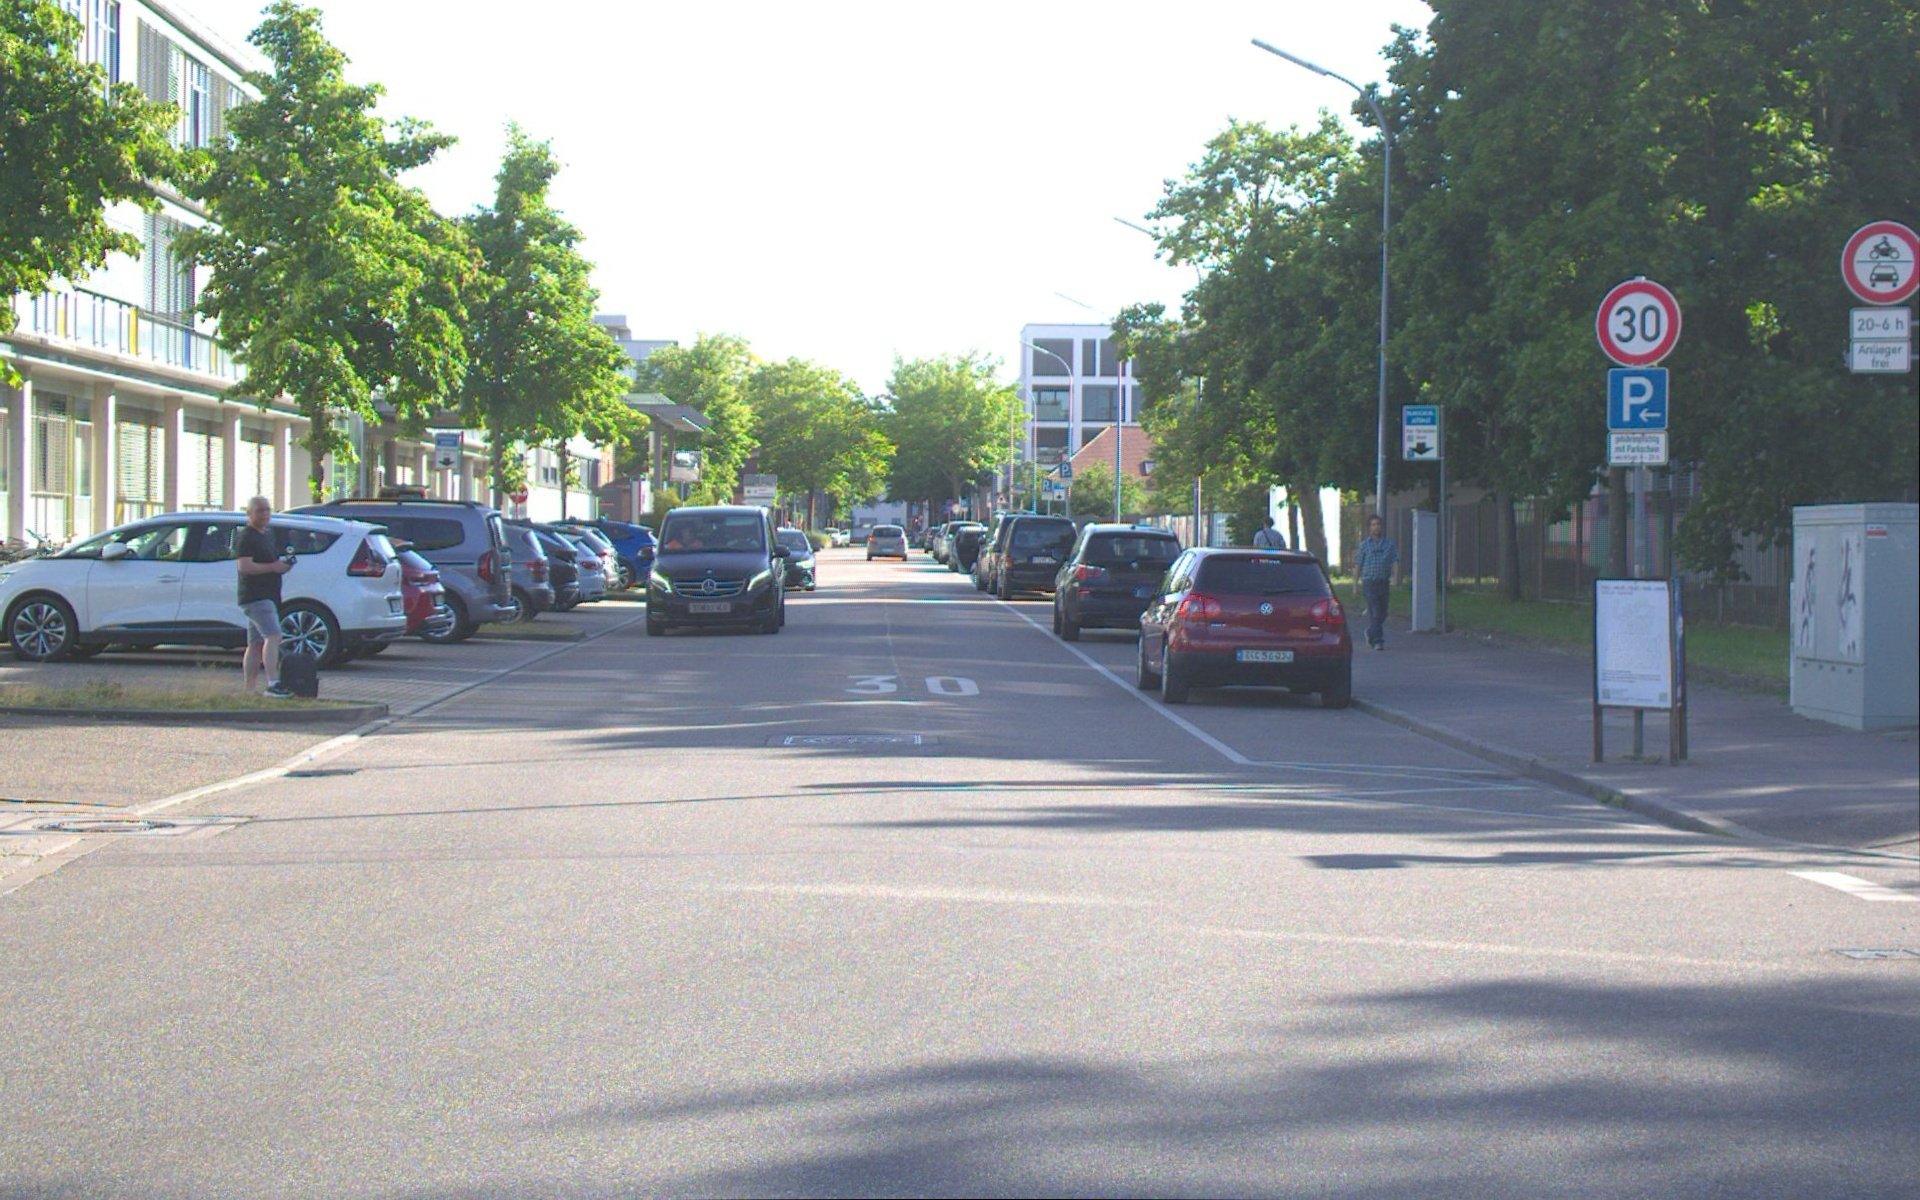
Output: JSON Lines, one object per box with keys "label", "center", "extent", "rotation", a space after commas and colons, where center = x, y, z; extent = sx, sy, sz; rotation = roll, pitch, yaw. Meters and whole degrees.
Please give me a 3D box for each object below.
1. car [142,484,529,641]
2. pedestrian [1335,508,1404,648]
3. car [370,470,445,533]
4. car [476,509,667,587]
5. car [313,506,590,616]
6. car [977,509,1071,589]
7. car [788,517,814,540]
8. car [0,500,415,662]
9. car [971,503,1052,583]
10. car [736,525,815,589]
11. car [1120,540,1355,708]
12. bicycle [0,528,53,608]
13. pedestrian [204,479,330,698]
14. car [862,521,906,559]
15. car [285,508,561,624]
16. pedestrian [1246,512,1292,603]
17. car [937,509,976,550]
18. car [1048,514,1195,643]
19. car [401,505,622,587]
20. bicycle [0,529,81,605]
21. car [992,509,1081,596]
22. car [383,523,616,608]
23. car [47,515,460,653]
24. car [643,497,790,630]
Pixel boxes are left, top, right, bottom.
{"label": "car", "center": [-8.206, -0.509, 45.477], "extent": [4.742, 1.858, 1.828], "rotation": [2, 1, -1]}
{"label": "pedestrian", "center": [5.216, -0.292, 43.859], "extent": [0.717, 1.752, 0.885], "rotation": [-2, 1, -1]}
{"label": "car", "center": [-18.742, -3.334, 116.804], "extent": [1.993, 2.007, 4.000], "rotation": [1, 0, -2]}
{"label": "car", "center": [-8.819, -1.190, 78.230], "extent": [4.213, 1.597, 1.872], "rotation": [2, 1, -5]}
{"label": "car", "center": [-8.154, -0.639, 55.429], "extent": [4.245, 1.606, 2.048], "rotation": [2, 1, -5]}
{"label": "car", "center": [1.474, -1.221, 80.726], "extent": [1.993, 1.816, 4.199], "rotation": [0, 1, -2]}
{"label": "car", "center": [-10.573, -4.753, 228.207], "extent": [1.727, 1.531, 4.001], "rotation": [1, 1, -3]}
{"label": "car", "center": [-8.380, -0.225, 37.199], "extent": [4.612, 1.645, 1.867], "rotation": [1, 1, 2]}
{"label": "car", "center": [1.272, -1.461, 86.967], "extent": [1.874, 1.971, 4.001], "rotation": [0, 1, -2]}
{"label": "car", "center": [-4.338, -1.036, 81.236], "extent": [1.703, 1.446, 4.087], "rotation": [-1, 1, -1]}
{"label": "car", "center": [2.626, 0.181, 33.509], "extent": [1.719, 1.450, 4.653], "rotation": [2, 1, -2]}
{"label": "bicycle", "center": [-14.333, -0.480, 50.196], "extent": [0.870, 1.149, 2.370], "rotation": [3, 1, 20]}
{"label": "pedestrian", "center": [-6.019, -0.107, 29.897], "extent": [0.857, 1.836, 0.825], "rotation": [2, 1, 0]}
{"label": "car", "center": [-3.169, -2.506, 143.179], "extent": [1.743, 1.538, 4.000], "rotation": [1, 1, -1]}
{"label": "car", "center": [-8.155, -0.535, 52.475], "extent": [3.986, 1.601, 1.872], "rotation": [2, 1, -5]}
{"label": "pedestrian", "center": [5.707, -0.786, 63.495], "extent": [0.698, 1.655, 0.752], "rotation": [-2, 1, -2]}
{"label": "car", "center": [-0.135, -2.782, 135.499], "extent": [1.436, 1.555, 3.042], "rotation": [1, 1, -2]}
{"label": "car", "center": [2.277, -0.356, 49.540], "extent": [1.812, 1.660, 4.593], "rotation": [2, 2, 0]}
{"label": "car", "center": [-8.861, -1.075, 68.223], "extent": [4.213, 1.457, 1.872], "rotation": [2, 1, -5]}
{"label": "bicycle", "center": [-14.538, -0.528, 53.985], "extent": [0.892, 1.107, 1.889], "rotation": [2, 2, 2]}
{"label": "car", "center": [1.633, -1.043, 74.488], "extent": [1.733, 1.824, 3.906], "rotation": [1, 1, -1]}
{"label": "car", "center": [-8.150, -0.618, 61.077], "extent": [3.986, 1.354, 1.743], "rotation": [2, 1, -5]}
{"label": "car", "center": [-8.169, -0.197, 40.035], "extent": [4.433, 1.496, 1.827], "rotation": [1, 1, -1]}
{"label": "car", "center": [-3.578, -0.580, 51.359], "extent": [1.955, 1.861, 5.256], "rotation": [1, 1, -2]}
